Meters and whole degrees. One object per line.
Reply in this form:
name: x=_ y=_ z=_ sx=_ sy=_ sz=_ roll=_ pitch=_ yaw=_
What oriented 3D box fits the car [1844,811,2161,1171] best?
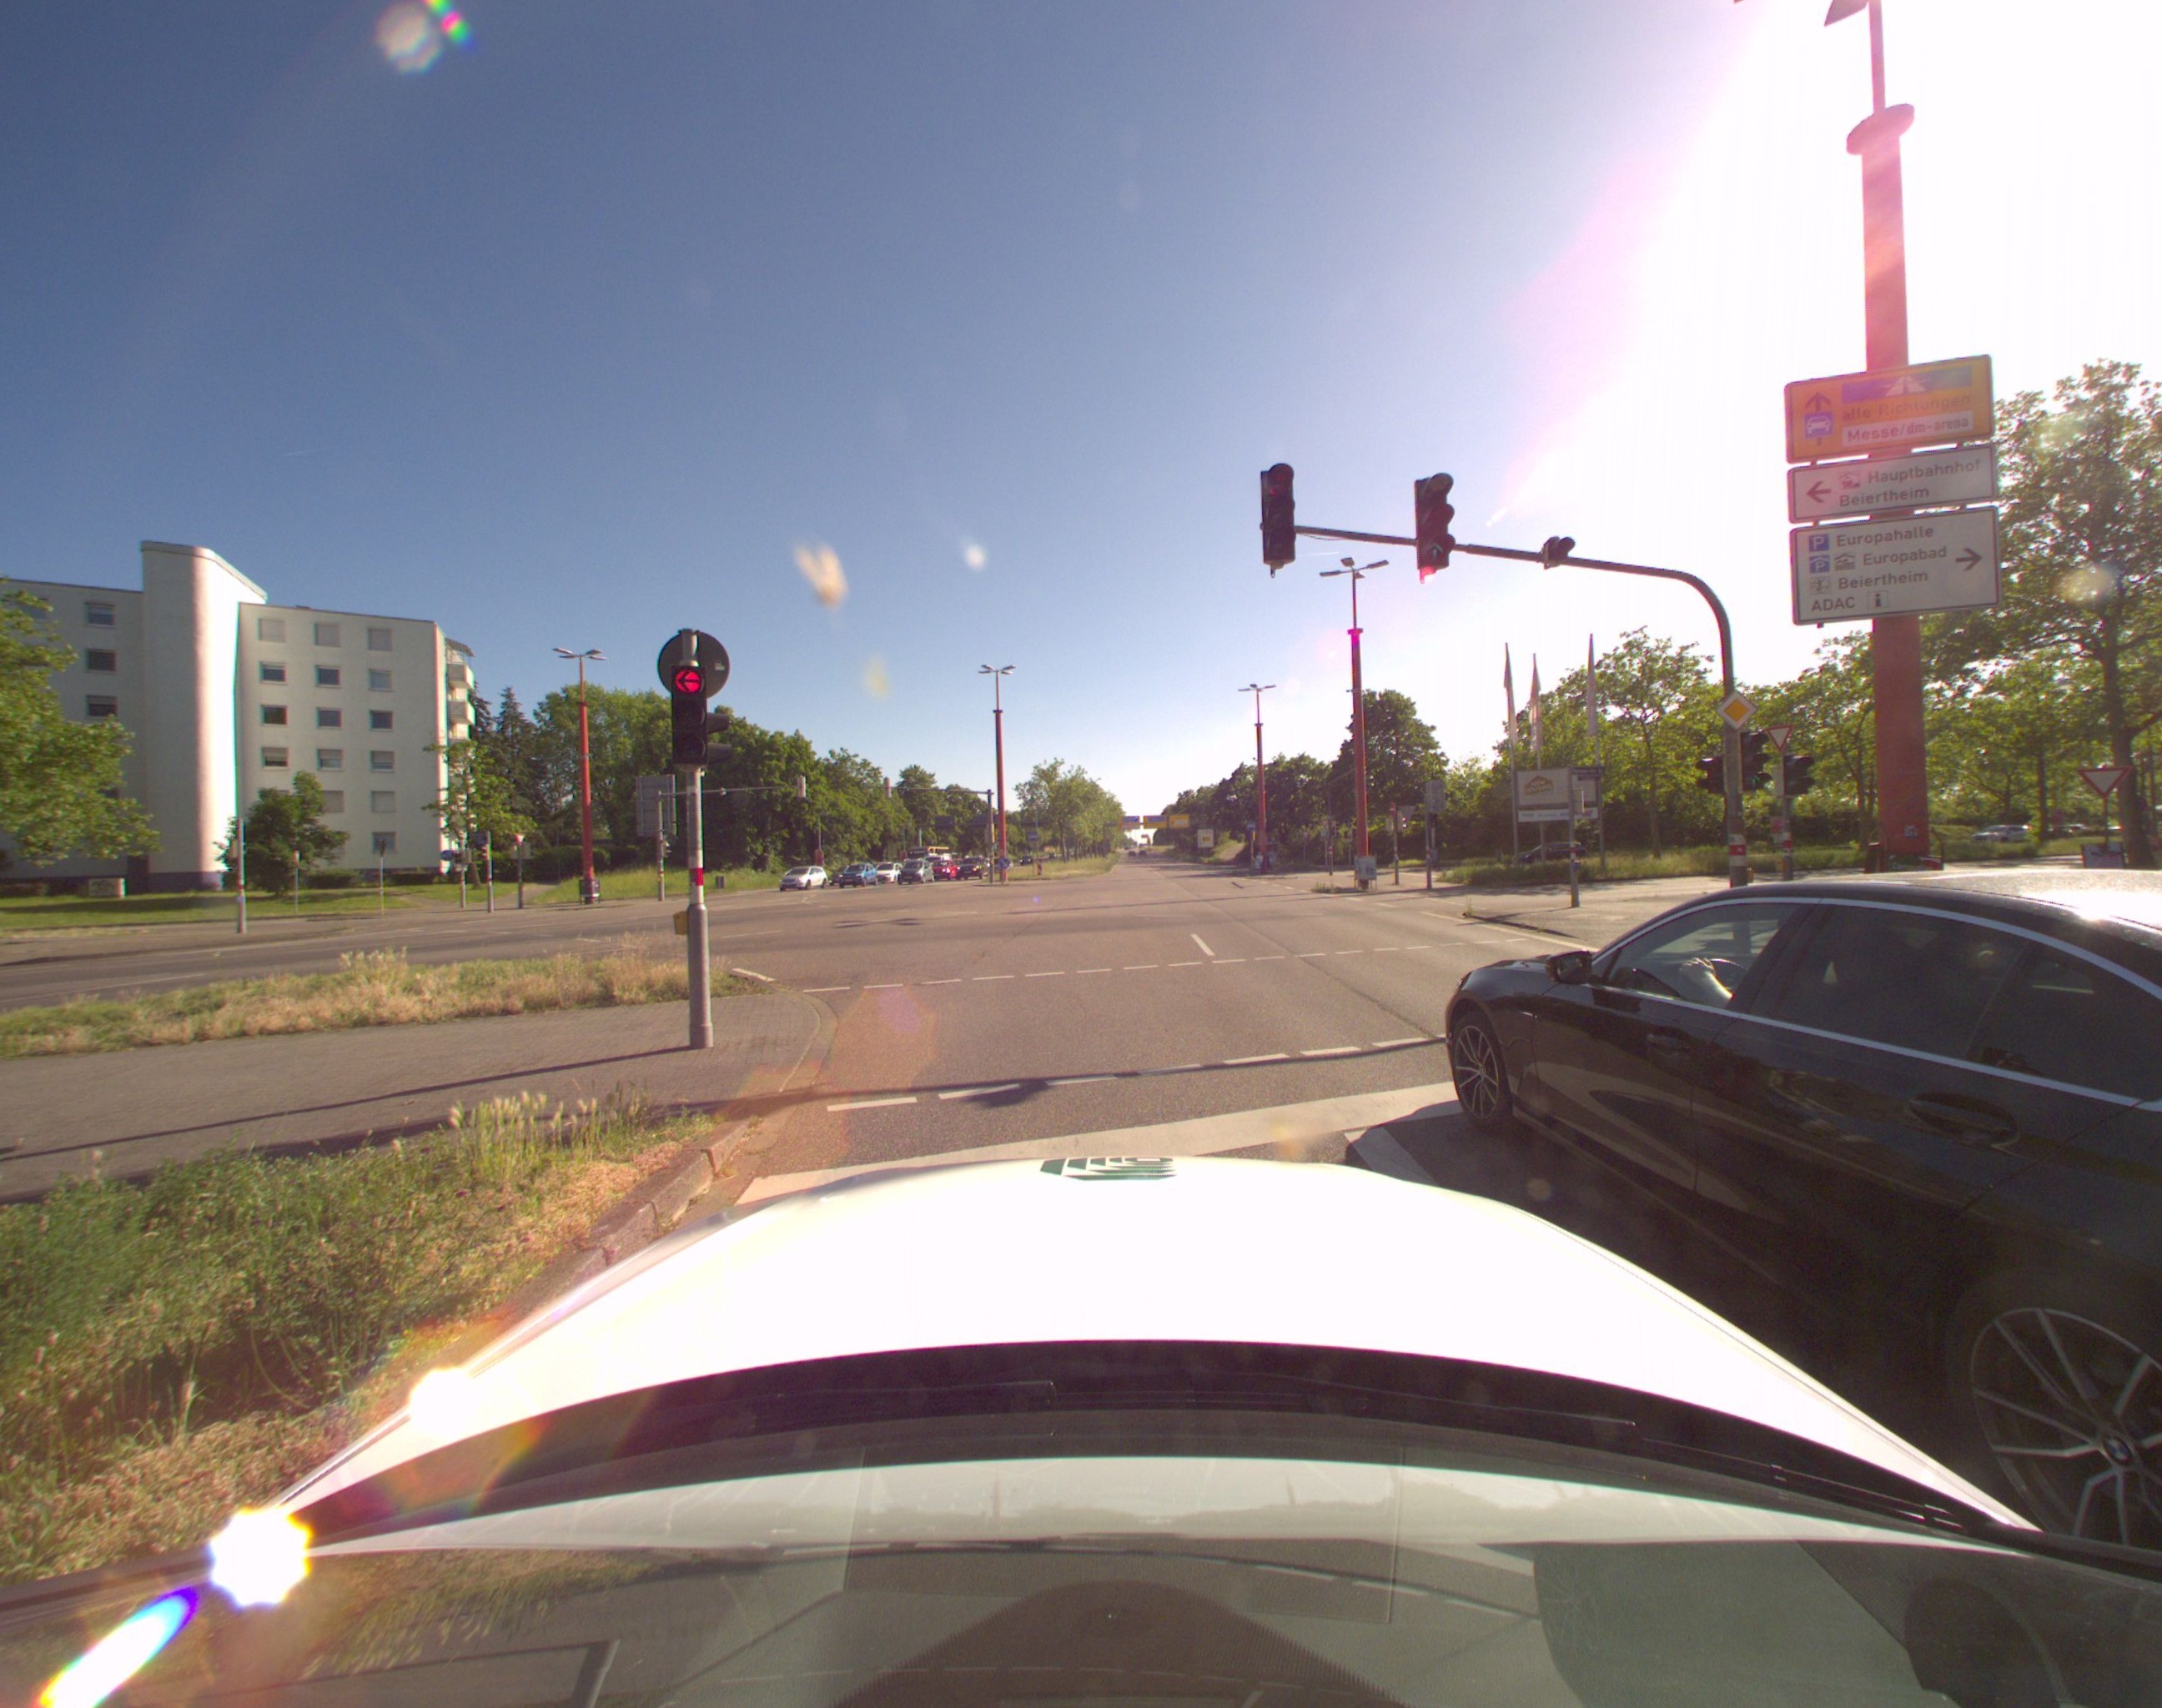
car: x=5.674 y=0.605 z=3.269 sx=1.709 sy=1.608 sz=3.849 roll=0 pitch=-1 yaw=2

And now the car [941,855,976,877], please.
car: x=-9.740 y=0.936 z=65.026 sx=1.893 sy=1.630 sz=4.003 roll=-1 pitch=0 yaw=3

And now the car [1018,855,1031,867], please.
car: x=-9.443 y=1.144 z=136.130 sx=1.830 sy=1.837 sz=3.962 roll=-2 pitch=0 yaw=2

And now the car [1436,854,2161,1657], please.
car: x=2.899 y=0.725 z=2.757 sx=1.756 sy=1.441 sz=4.299 roll=0 pitch=0 yaw=4

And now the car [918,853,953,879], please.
car: x=-12.716 y=1.002 z=71.306 sx=1.954 sy=2.155 sz=5.083 roll=-2 pitch=0 yaw=1

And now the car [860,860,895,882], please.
car: x=-16.793 y=1.387 z=67.370 sx=1.772 sy=1.652 sz=3.973 roll=-4 pitch=-1 yaw=0

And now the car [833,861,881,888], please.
car: x=-14.131 y=1.289 z=51.621 sx=1.794 sy=1.515 sz=3.861 roll=-3 pitch=0 yaw=2

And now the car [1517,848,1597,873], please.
car: x=31.409 y=0.449 z=53.840 sx=4.252 sy=1.635 sz=1.777 roll=-1 pitch=-1 yaw=15

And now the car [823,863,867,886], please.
car: x=-17.551 y=1.506 z=60.684 sx=1.877 sy=1.513 sz=4.003 roll=-3 pitch=0 yaw=3

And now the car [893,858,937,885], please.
car: x=-10.689 y=1.082 z=52.701 sx=1.867 sy=1.550 sz=4.029 roll=-3 pitch=0 yaw=2

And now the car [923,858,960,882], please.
car: x=-10.060 y=1.128 z=59.028 sx=1.869 sy=1.552 sz=4.000 roll=-5 pitch=0 yaw=0

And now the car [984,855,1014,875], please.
car: x=-6.725 y=0.901 z=67.306 sx=1.878 sy=1.543 sz=4.002 roll=-3 pitch=0 yaw=2

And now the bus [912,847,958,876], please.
bus: x=-17.632 y=0.887 z=99.420 sx=2.635 sy=3.261 sz=12.545 roll=0 pitch=0 yaw=3

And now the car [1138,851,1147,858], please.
car: x=15.620 y=0.062 z=207.224 sx=1.986 sy=1.733 sz=4.001 roll=0 pitch=-1 yaw=2

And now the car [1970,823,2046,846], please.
car: x=70.740 y=-1.464 z=62.156 sx=4.281 sy=1.635 sz=1.765 roll=-2 pitch=0 yaw=-8

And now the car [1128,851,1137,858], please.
car: x=12.578 y=0.076 z=199.728 sx=1.986 sy=1.733 sz=4.001 roll=0 pitch=-1 yaw=2

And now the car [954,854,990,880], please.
car: x=-7.521 y=0.861 z=56.707 sx=1.787 sy=1.626 sz=4.144 roll=-3 pitch=0 yaw=1

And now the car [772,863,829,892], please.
car: x=-17.638 y=1.427 z=51.422 sx=1.869 sy=1.652 sz=4.222 roll=-3 pitch=-1 yaw=3

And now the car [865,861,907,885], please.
car: x=-13.767 y=1.291 z=57.767 sx=1.895 sy=1.555 sz=4.000 roll=-3 pitch=0 yaw=0
